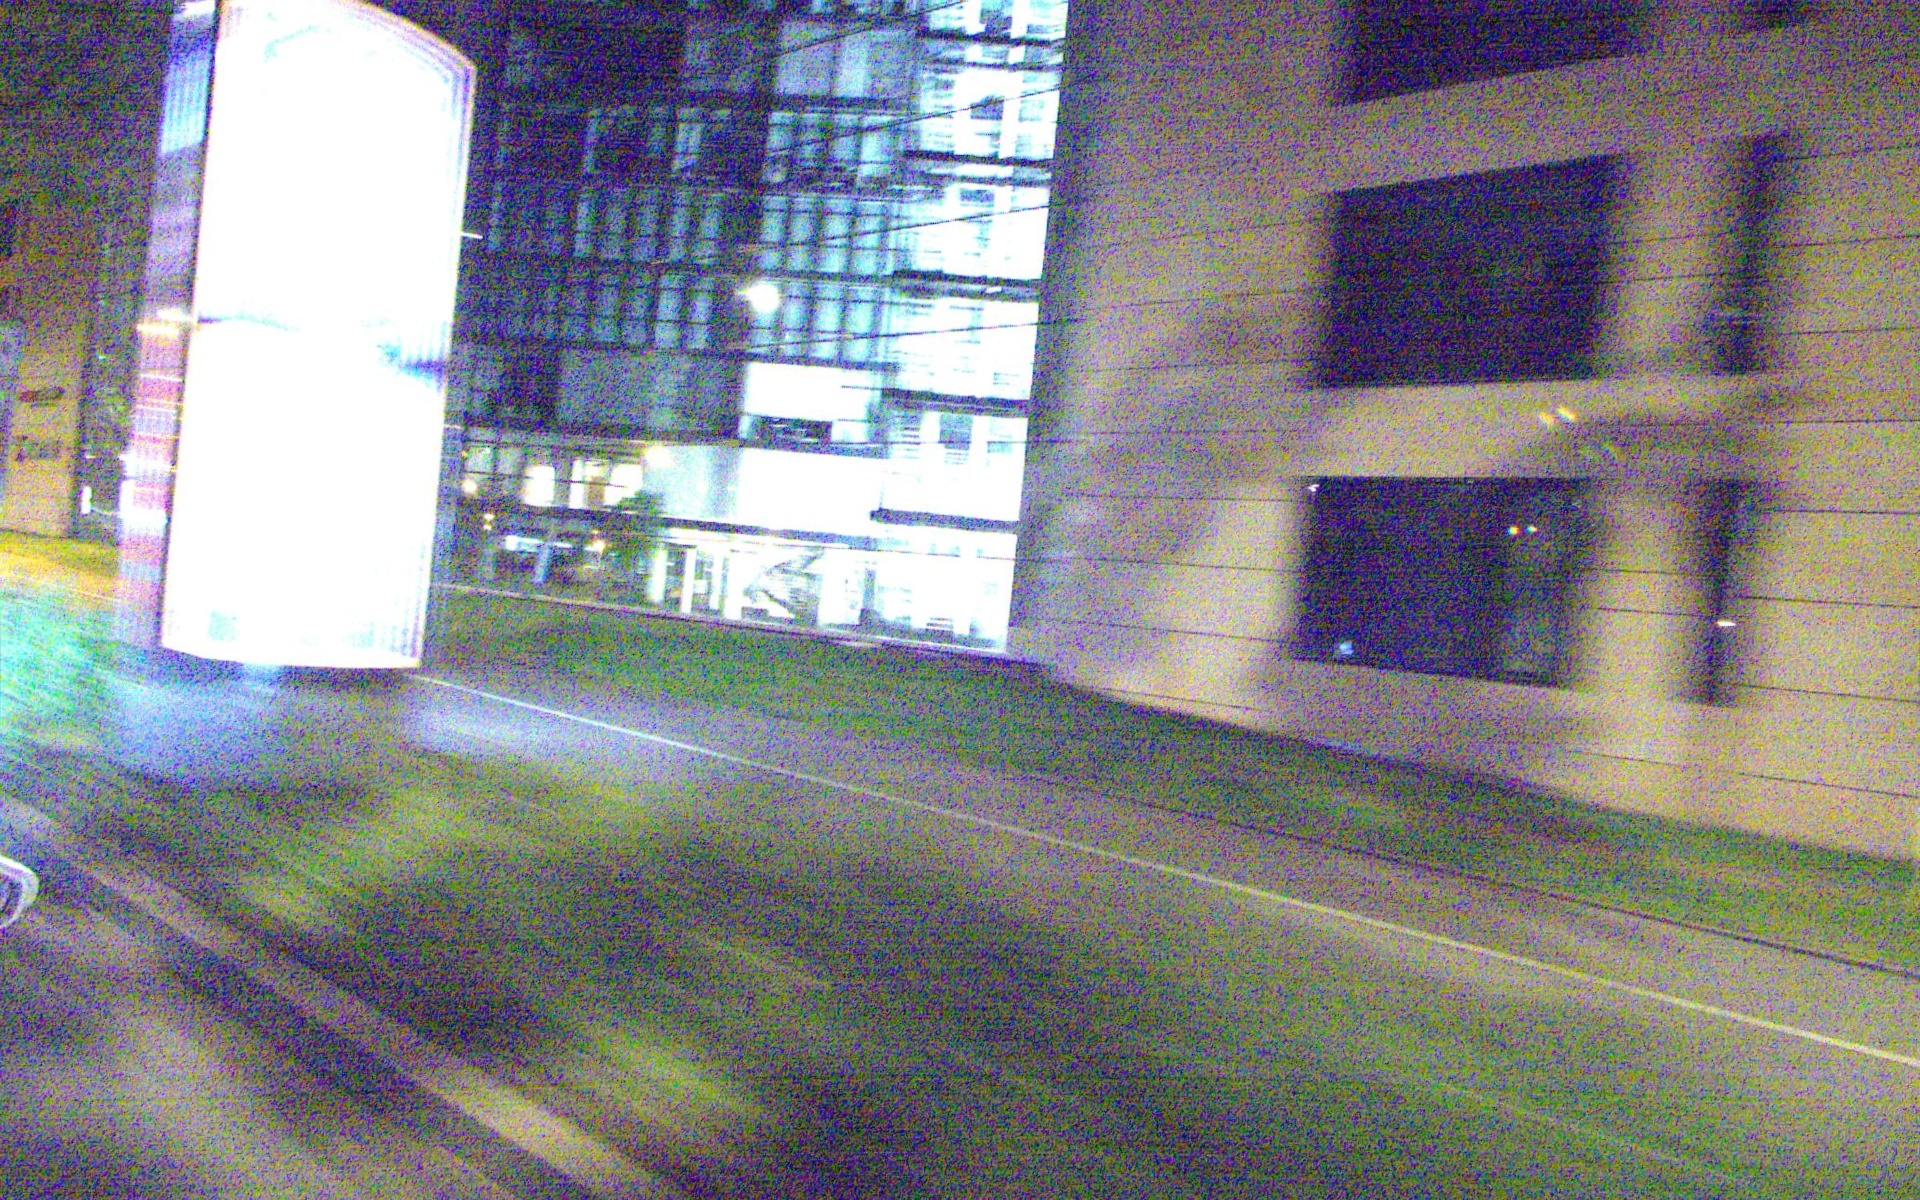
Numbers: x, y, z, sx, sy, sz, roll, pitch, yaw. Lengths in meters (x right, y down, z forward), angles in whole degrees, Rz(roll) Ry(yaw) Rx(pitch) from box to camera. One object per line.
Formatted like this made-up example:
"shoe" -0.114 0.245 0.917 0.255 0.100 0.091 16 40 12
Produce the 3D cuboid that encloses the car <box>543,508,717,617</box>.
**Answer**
"car" -7.125 -0.732 22.168 1.962 1.885 3.779 8 0 9

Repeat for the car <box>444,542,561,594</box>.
"car" -13.087 -0.872 28.960 1.297 1.107 3.439 8 -1 9

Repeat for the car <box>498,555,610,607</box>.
"car" -10.981 -0.484 27.428 1.276 1.098 3.174 8 -1 9
